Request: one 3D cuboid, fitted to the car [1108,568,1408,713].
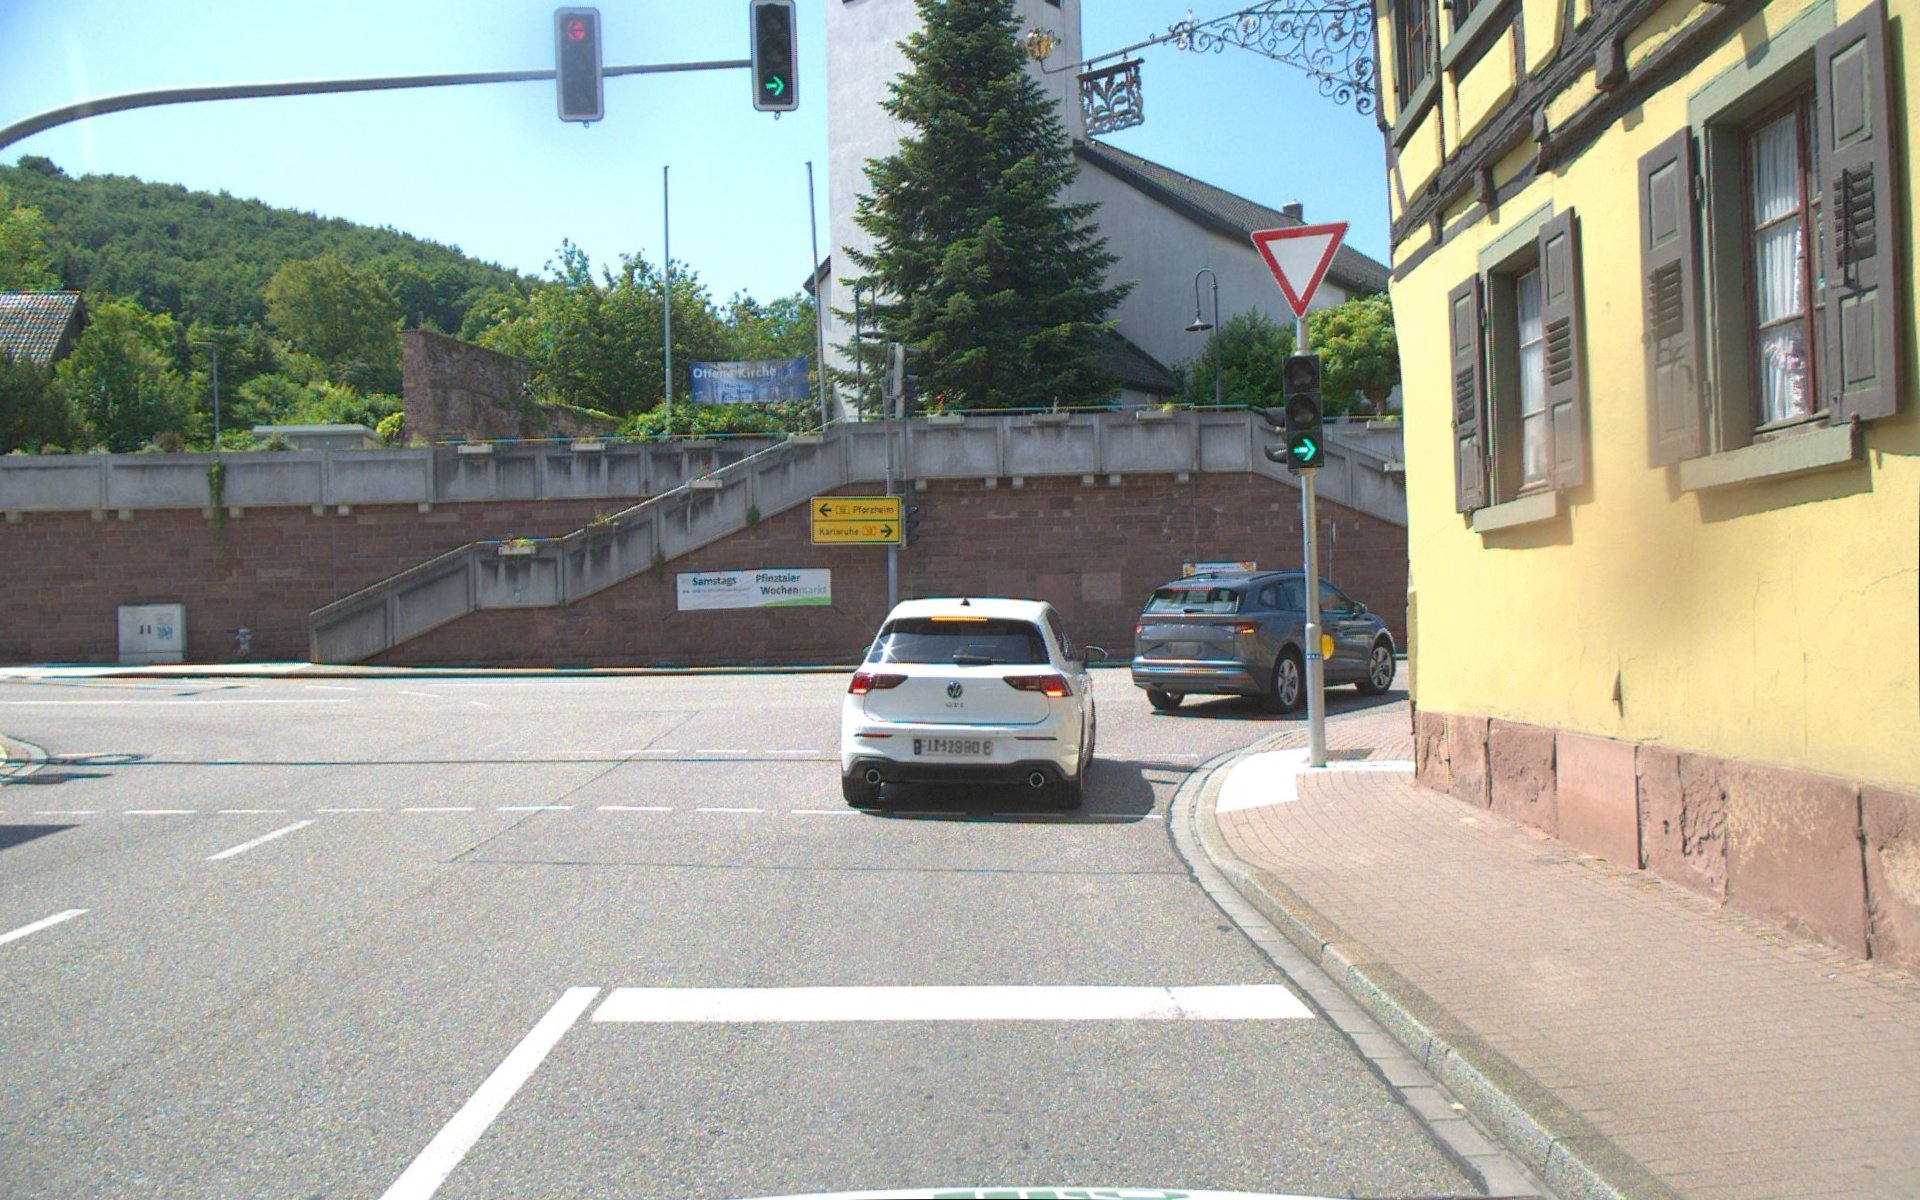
[{"bbox_3d":[3.806,0.462,20.583,1.917,1.610,4.307,-2,-1,37],"label":"car"}]

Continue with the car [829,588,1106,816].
[{"bbox_3d":[0.209,0.689,12.934,1.745,1.484,3.865,-2,0,6],"label":"car"}]
